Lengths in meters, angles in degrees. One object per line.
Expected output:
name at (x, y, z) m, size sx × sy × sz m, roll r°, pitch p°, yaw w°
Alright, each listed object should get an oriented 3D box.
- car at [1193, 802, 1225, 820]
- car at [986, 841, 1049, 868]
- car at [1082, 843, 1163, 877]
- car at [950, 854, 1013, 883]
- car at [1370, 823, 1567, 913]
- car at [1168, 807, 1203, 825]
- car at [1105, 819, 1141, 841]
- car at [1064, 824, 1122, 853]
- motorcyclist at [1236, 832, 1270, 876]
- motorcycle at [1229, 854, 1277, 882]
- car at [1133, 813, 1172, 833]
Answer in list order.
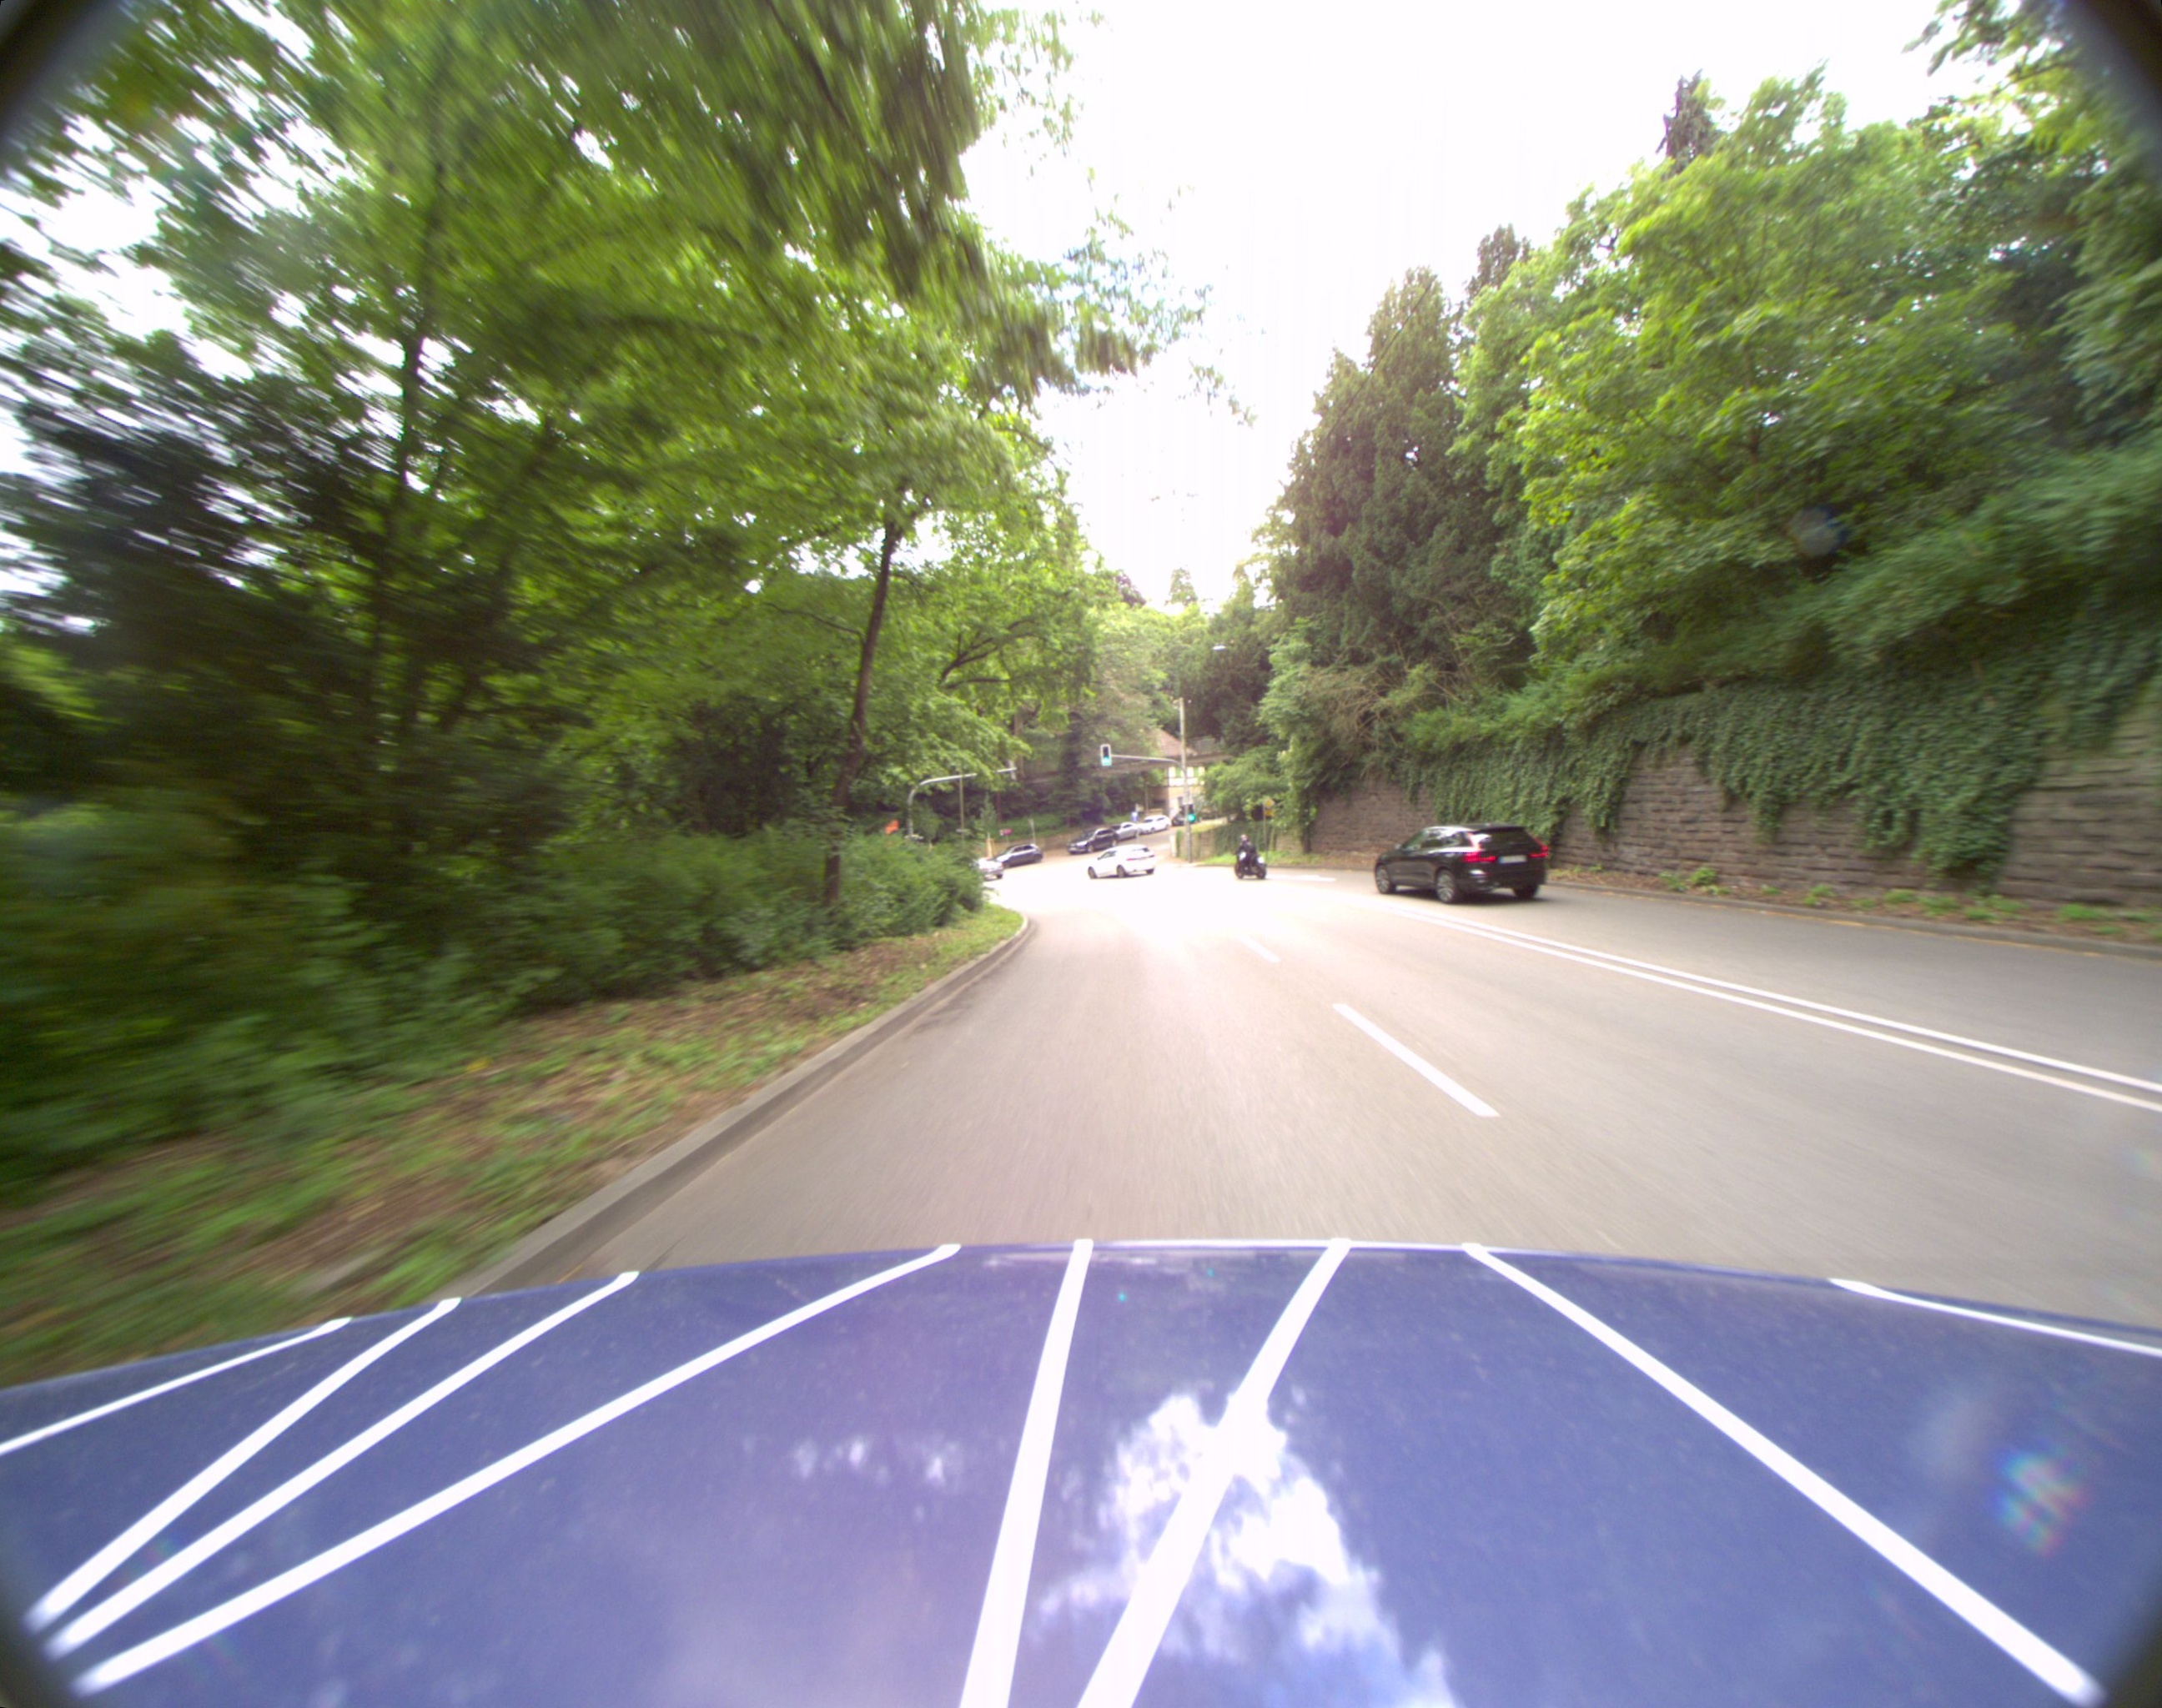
car at (13.334, -4.467, 78.932) m, size 1.598 × 1.323 × 3.916 m, roll 0°, pitch 9°, yaw 38°
car at (-4.486, 0.015, 54.306) m, size 4.003 × 1.351 × 1.749 m, roll -11°, pitch 6°, yaw -33°
car at (1.965, 0.285, 37.212) m, size 1.754 × 1.408 × 4.319 m, roll -7°, pitch 2°, yaw -30°
car at (-6.205, 0.900, 47.139) m, size 3.745 × 1.410 × 1.614 m, roll -5°, pitch 4°, yaw 39°
car at (8.347, 0.236, 16.906) m, size 1.855 × 1.640 × 4.509 m, roll -3°, pitch 1°, yaw -3°
car at (10.361, -3.787, 75.290) m, size 1.598 × 1.323 × 3.916 m, roll 0°, pitch 9°, yaw 38°
car at (3.680, -2.110, 66.386) m, size 1.501 × 1.441 × 3.268 m, roll 0°, pitch 9°, yaw 37°
car at (0.981, -1.237, 59.220) m, size 1.803 × 1.676 × 4.548 m, roll -2°, pitch 7°, yaw 42°
motorcyclist at (6.179, -0.012, 27.355) m, size 0.749 × 1.521 × 1.094 m, roll -3°, pitch 2°, yaw -9°
motorcycle at (6.193, 0.481, 27.467) m, size 0.811 × 0.884 × 2.427 m, roll -3°, pitch 2°, yaw -9°
car at (6.690, -2.889, 70.663) m, size 1.624 × 1.323 × 4.027 m, roll 1°, pitch 9°, yaw 38°
